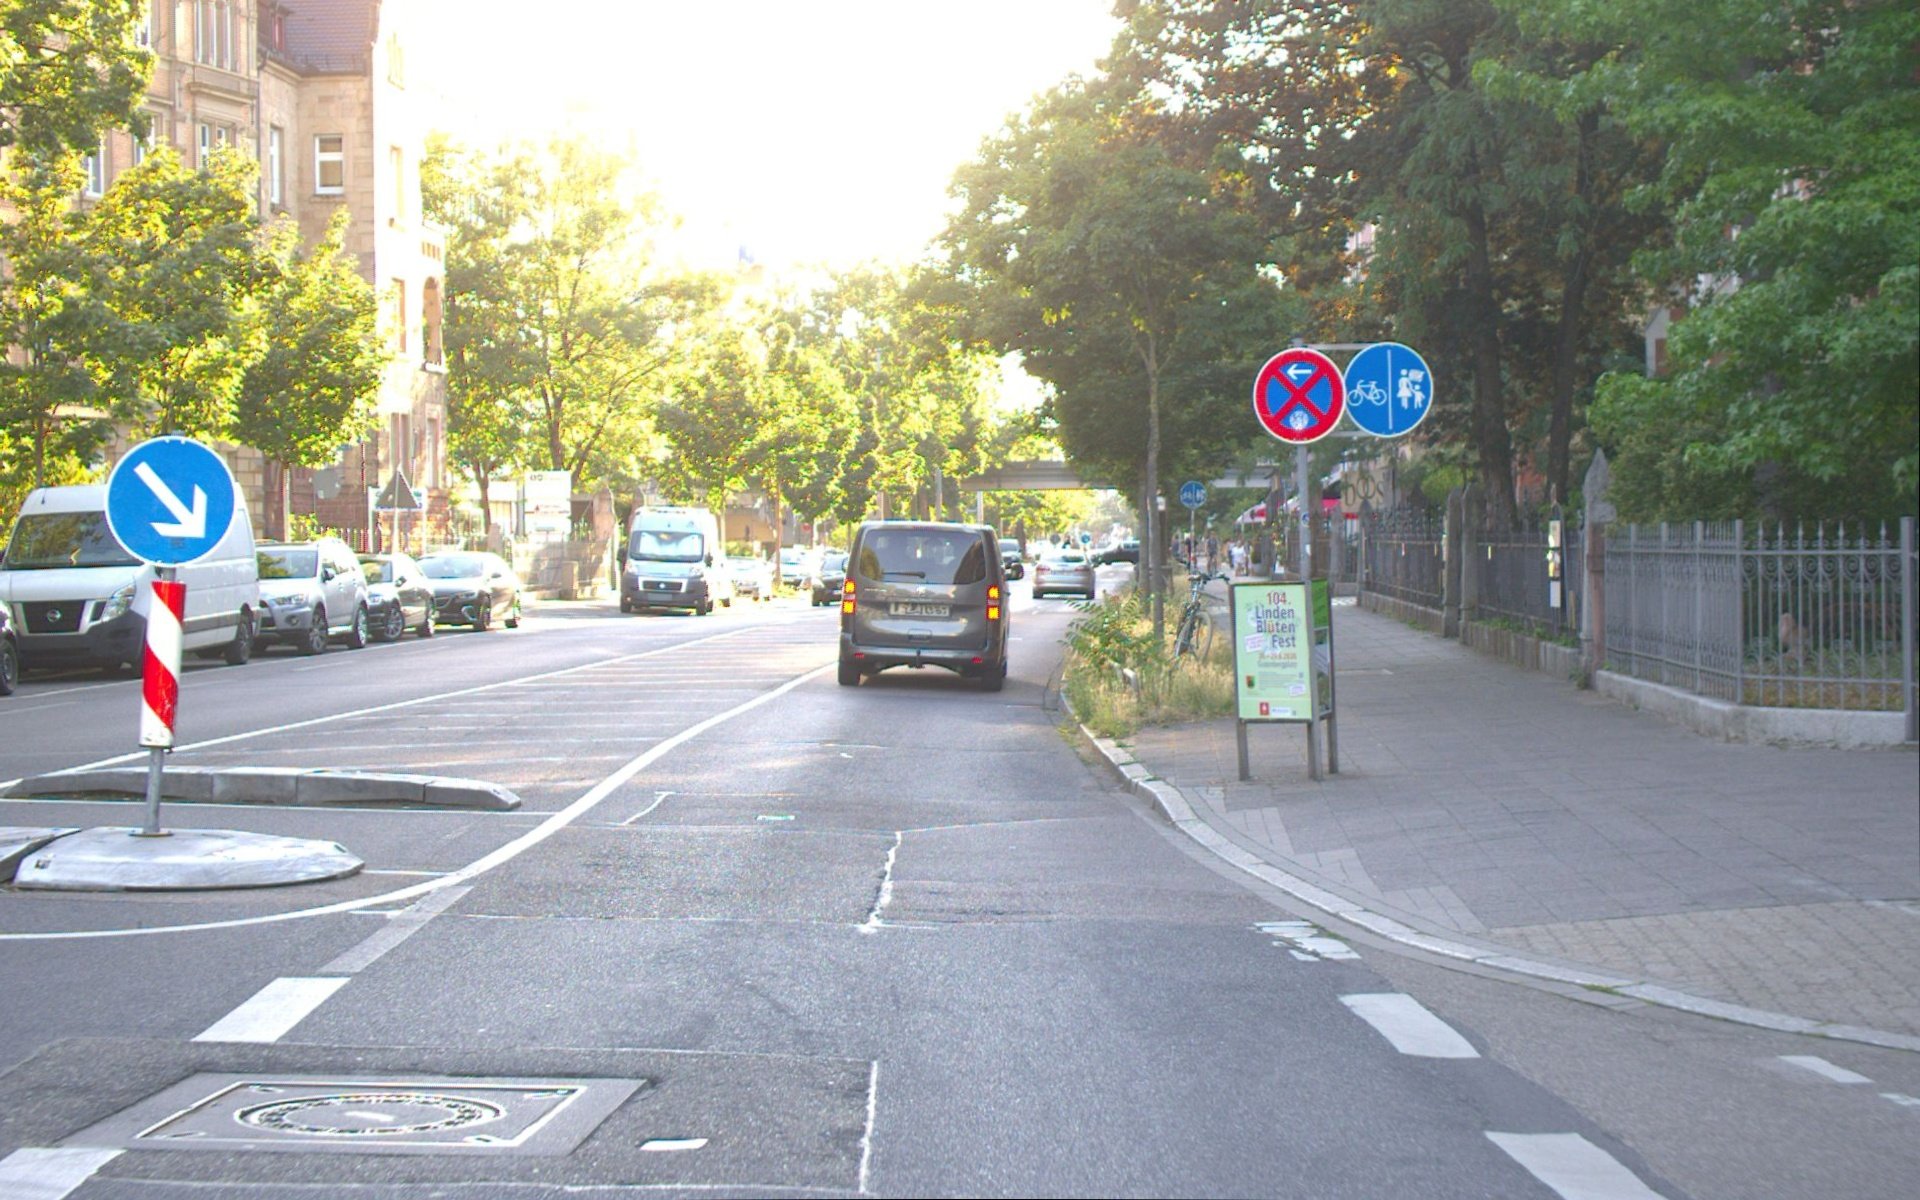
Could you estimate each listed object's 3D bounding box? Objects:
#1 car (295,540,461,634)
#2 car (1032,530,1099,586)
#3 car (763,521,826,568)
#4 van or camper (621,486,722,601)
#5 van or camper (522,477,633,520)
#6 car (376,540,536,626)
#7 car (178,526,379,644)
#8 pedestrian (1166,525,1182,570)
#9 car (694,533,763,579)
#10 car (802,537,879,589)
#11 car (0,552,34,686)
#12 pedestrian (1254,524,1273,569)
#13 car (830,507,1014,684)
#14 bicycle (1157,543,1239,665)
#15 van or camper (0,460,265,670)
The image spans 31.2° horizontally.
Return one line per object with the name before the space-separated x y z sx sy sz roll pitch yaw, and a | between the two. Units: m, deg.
car | -9.618 -0.243 57.104 1.736 1.440 4.625 0 2 3
car | 3.189 -1.278 103.632 1.993 1.628 4.000 0 2 2
car | -5.429 -1.841 113.312 1.697 1.446 4.000 1 1 2
van or camper | -7.003 -1.404 84.054 1.993 2.659 6.039 1 1 -1
van or camper | -24.079 -6.408 216.561 6.563 2.513 2.449 1 1 2
car | -9.261 -0.350 63.496 1.994 1.478 4.829 0 1 3
car | -10.155 -0.260 51.556 1.866 1.639 4.571 -1 1 3
pedestrian | 9.104 -2.235 146.191 0.504 1.882 0.545 1 1 -11
car | -6.605 -1.266 98.404 1.536 1.244 3.614 1 1 2
car | -3.397 -1.088 98.550 1.766 1.397 4.544 -1 1 4
car | -11.260 0.261 36.281 1.628 1.424 4.242 -1 2 3
pedestrian | 11.142 -1.971 126.062 0.644 1.627 0.656 1 1 4
car | -0.387 -0.103 39.895 1.887 1.918 3.839 -1 2 3
bicycle | 2.398 0.024 34.757 0.646 1.163 1.931 1 1 -1
van or camper | -10.760 -0.499 44.090 2.091 2.460 6.305 -1 2 3
